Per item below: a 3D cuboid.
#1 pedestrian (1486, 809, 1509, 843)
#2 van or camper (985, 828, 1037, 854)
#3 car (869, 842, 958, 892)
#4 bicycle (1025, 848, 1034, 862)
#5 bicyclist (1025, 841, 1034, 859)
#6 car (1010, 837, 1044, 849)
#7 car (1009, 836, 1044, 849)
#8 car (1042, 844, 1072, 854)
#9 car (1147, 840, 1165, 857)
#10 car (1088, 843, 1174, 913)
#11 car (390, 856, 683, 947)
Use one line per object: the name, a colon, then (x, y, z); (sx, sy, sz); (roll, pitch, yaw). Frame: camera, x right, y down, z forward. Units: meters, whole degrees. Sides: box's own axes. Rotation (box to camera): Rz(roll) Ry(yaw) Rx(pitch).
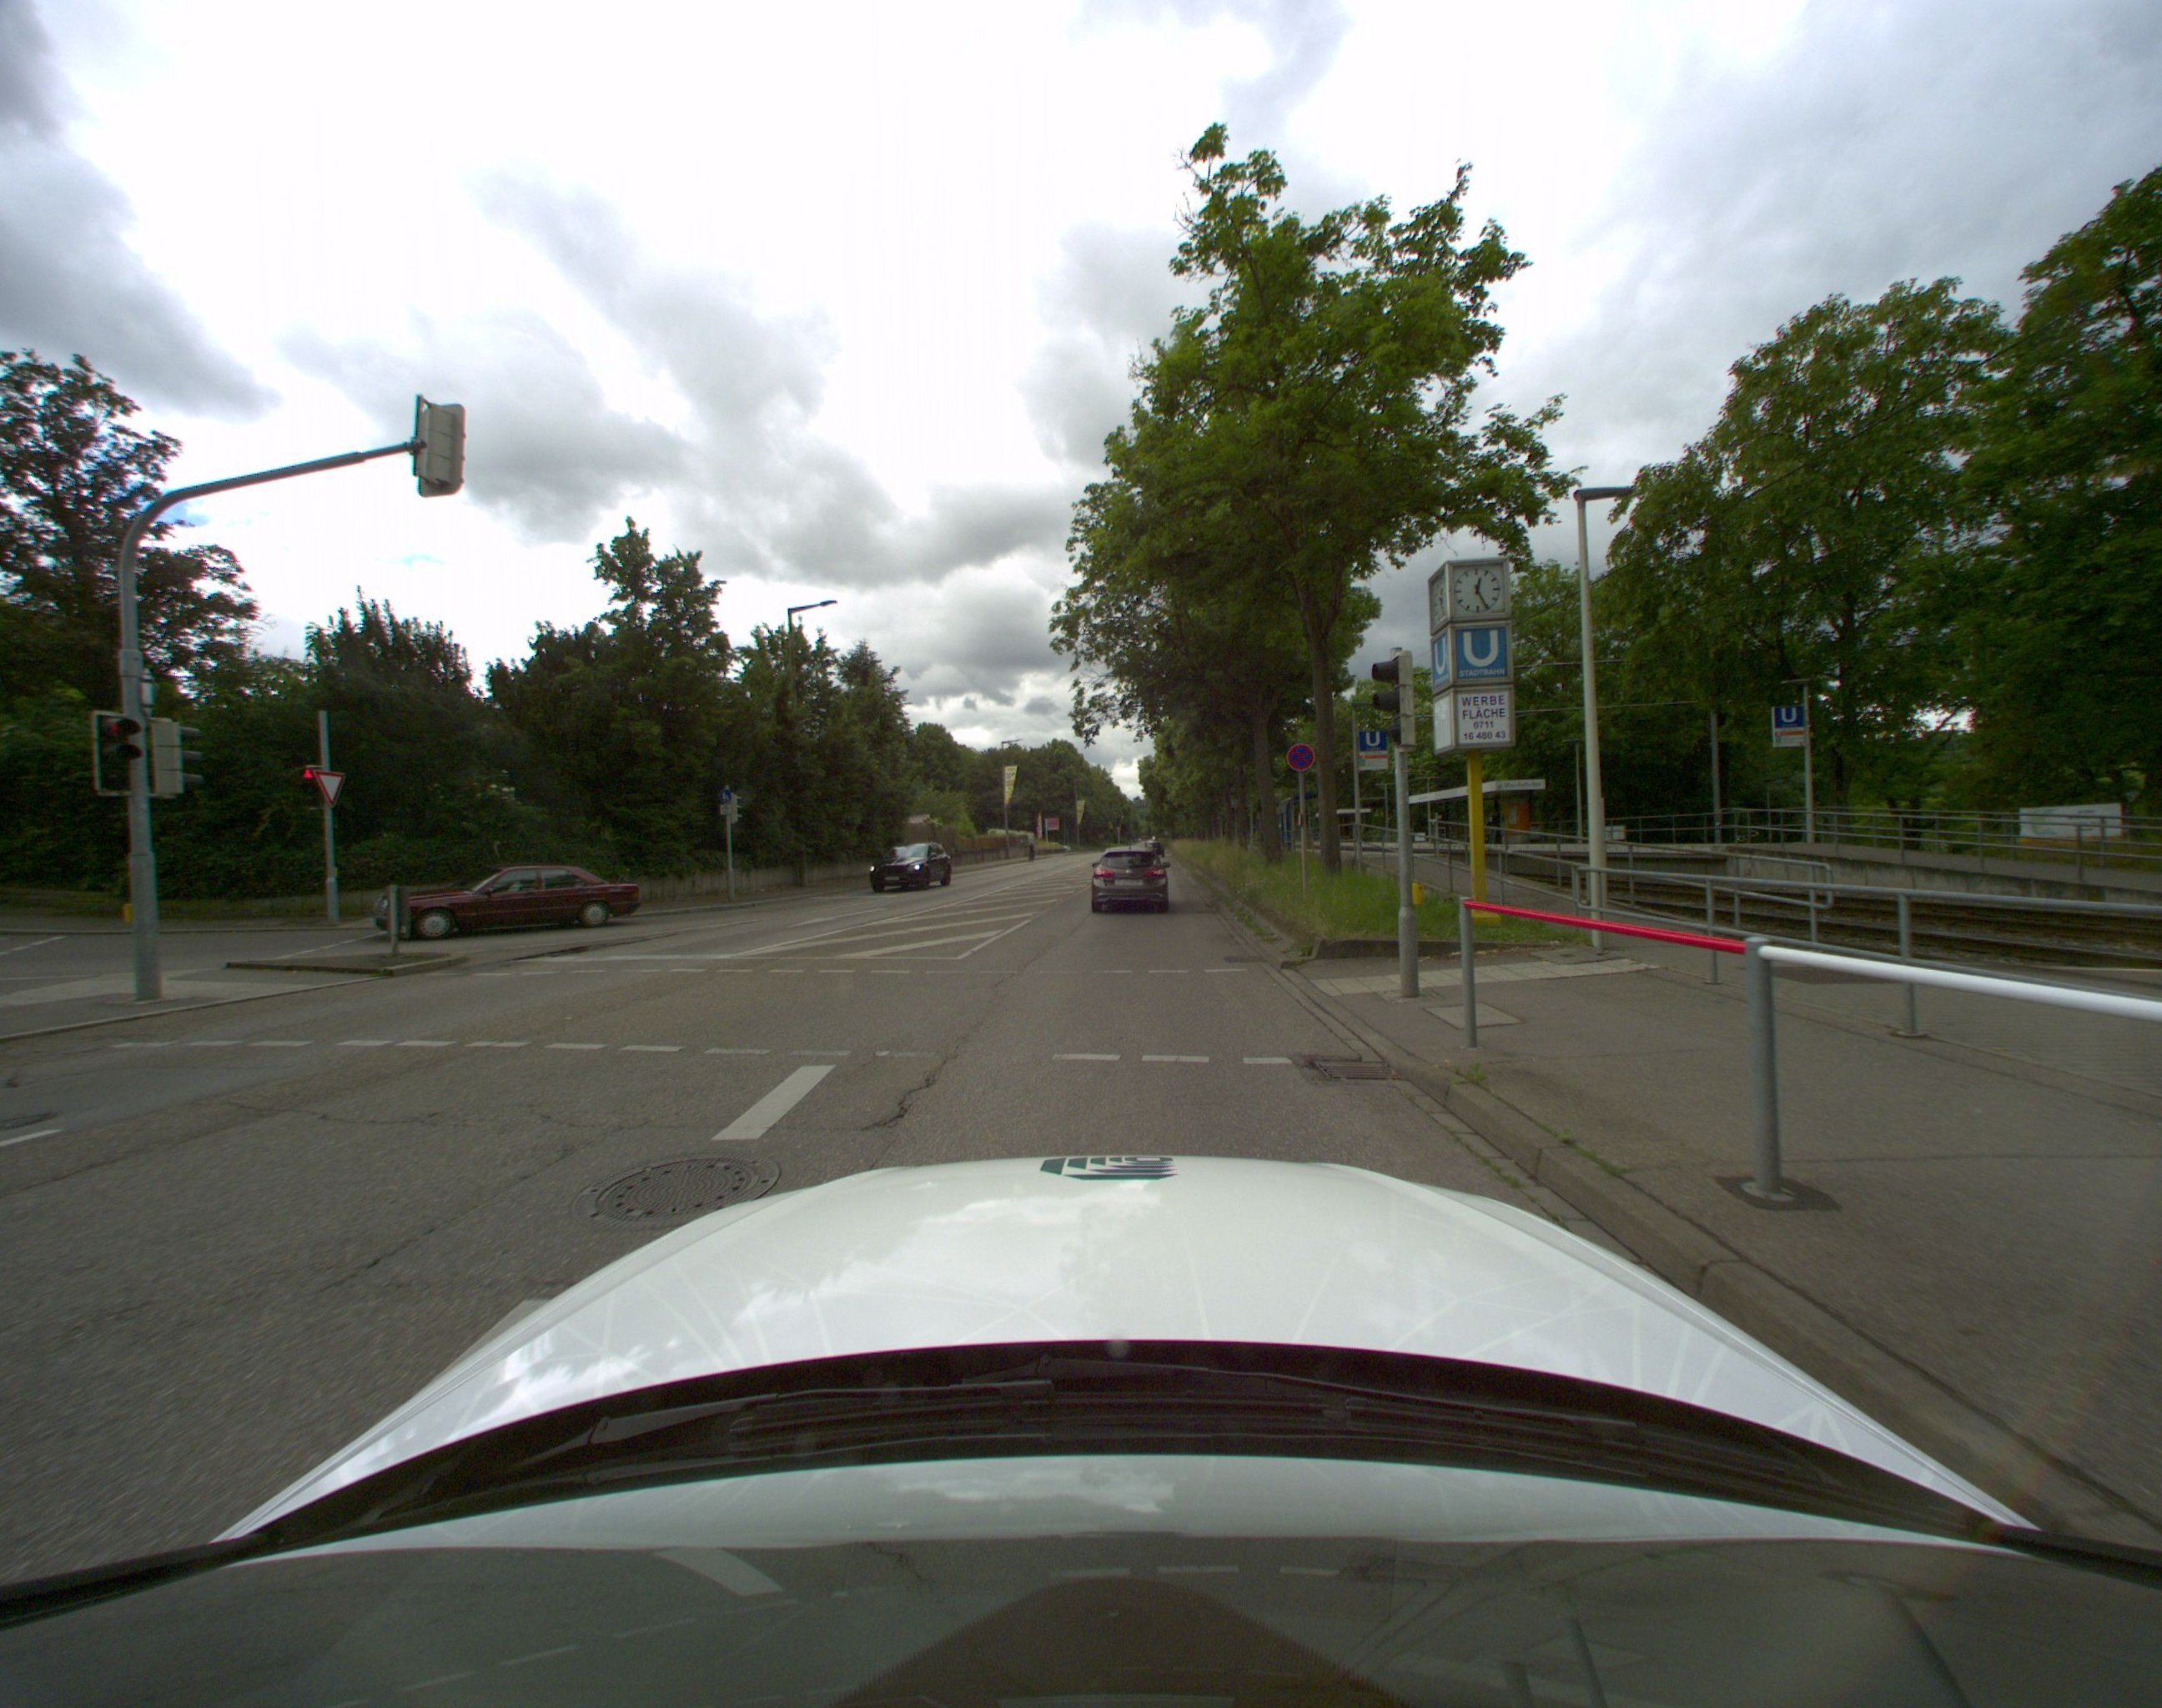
pedestrian: (18.632, -1.249, 36.458); (0.714, 1.511, 0.725); (0, 0, 8)
van or camper: (-10.428, -1.944, 121.509); (7.107, 3.370, 2.801); (3, 1, 5)
car: (-6.294, 0.440, 31.295); (1.893, 1.678, 5.088); (-2, 0, 5)
bicycle: (-4.437, 0.062, 70.268); (0.640, 1.145, 2.148); (0, 1, 1)
bicyclist: (-4.444, -0.323, 70.152); (0.640, 1.535, 0.979); (0, 1, 1)
car: (-6.829, -1.374, 103.005); (3.963, 1.411, 1.538); (0, 0, 9)
car: (-6.782, -1.421, 101.121); (3.963, 1.497, 1.864); (0, 0, 9)
car: (-3.537, -0.760, 121.142); (4.357, 1.441, 1.963); (0, 1, 2)
car: (7.124, -0.515, 77.194); (1.495, 1.528, 3.679); (-1, 0, 7)
car: (1.319, 0.510, 20.019); (1.827, 1.528, 3.937); (-1, 0, 7)
car: (-10.258, 0.784, 15.686); (1.725, 1.464, 4.370); (0, 0, 35)
